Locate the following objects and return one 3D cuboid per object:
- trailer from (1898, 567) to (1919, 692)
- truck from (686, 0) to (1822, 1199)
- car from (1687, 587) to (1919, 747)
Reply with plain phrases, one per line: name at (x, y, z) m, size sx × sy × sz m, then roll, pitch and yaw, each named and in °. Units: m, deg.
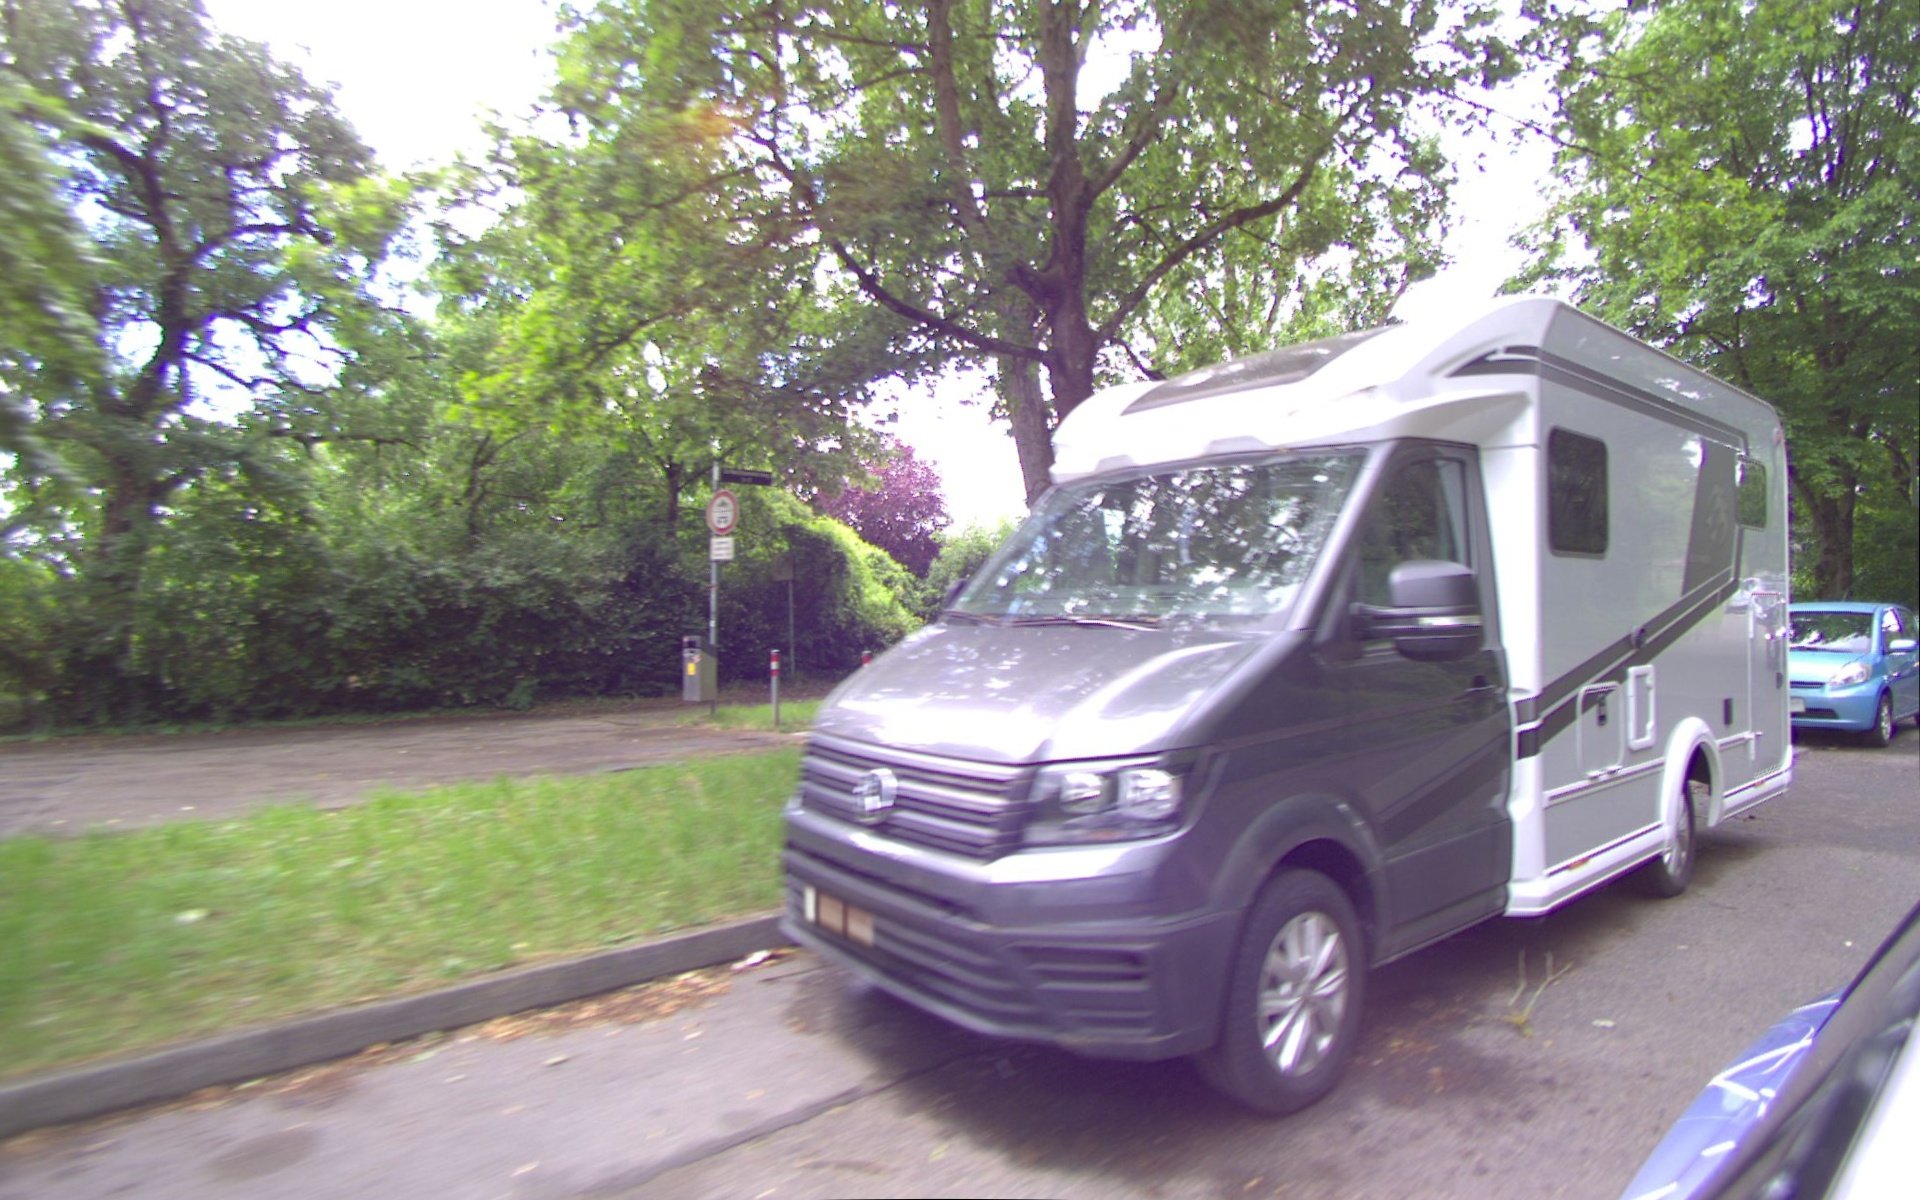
trailer at (17.906, 0.363, 16.955) m, size 5.783 × 1.957 × 2.000 m, roll -2°, pitch 0°, yaw -35°
truck at (2.283, -0.007, 5.386) m, size 6.906 × 2.970 × 2.309 m, roll 0°, pitch 0°, yaw -39°
car at (10.160, 0.657, 11.776) m, size 3.698 × 1.567 × 1.700 m, roll -1°, pitch -1°, yaw -37°
